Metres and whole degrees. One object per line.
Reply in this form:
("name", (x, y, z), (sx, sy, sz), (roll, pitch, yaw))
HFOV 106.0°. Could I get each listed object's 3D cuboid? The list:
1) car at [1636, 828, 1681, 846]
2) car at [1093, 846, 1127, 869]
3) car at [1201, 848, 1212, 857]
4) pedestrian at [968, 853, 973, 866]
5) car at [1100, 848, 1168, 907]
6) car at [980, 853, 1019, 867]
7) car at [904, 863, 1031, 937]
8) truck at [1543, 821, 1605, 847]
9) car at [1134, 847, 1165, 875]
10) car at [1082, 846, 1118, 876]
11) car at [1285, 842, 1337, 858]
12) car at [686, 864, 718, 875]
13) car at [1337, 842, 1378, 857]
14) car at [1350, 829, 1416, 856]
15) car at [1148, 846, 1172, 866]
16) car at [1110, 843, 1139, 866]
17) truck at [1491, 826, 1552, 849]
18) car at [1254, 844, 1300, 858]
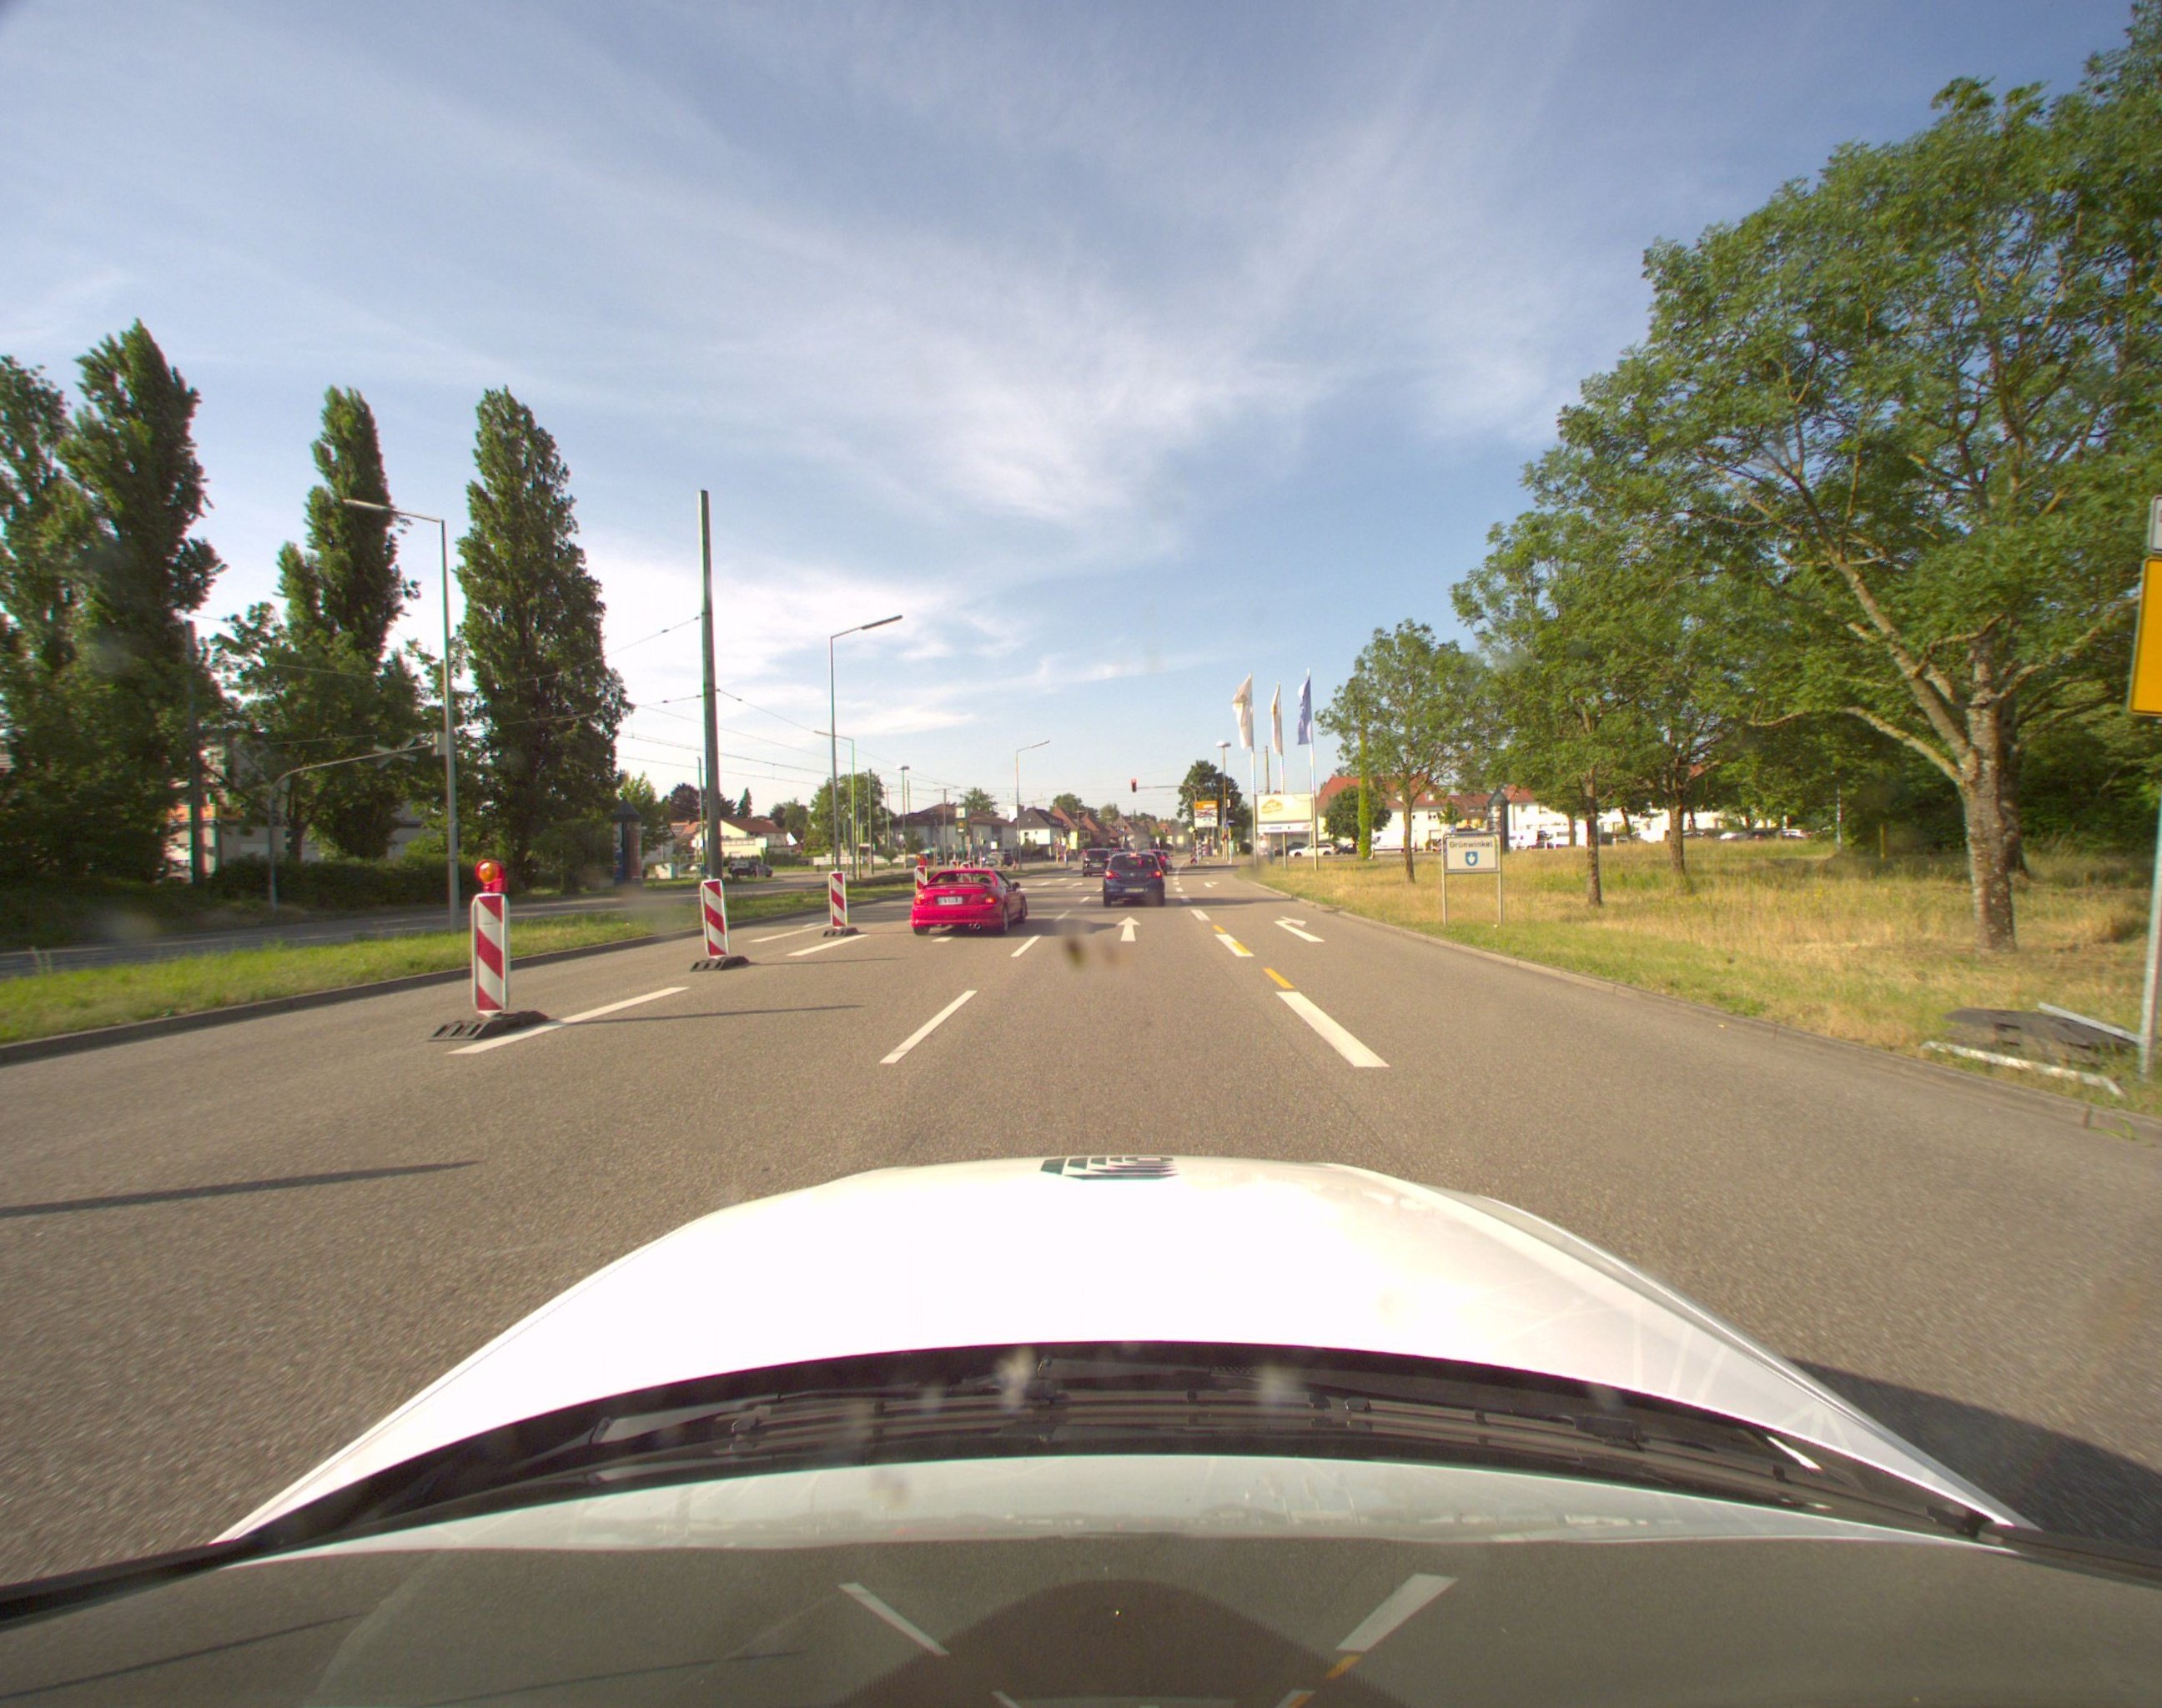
("car", (68.204, -1.983, 96.168), (1.905, 1.920, 3.865), (-2, 0, -37))
("car", (2.045, 0.231, 56.031), (1.689, 1.508, 4.566), (-1, 0, 10))
("car", (20.760, -0.241, 134.921), (1.664, 1.398, 4.010), (0, 0, 9))
("pedestrian", (-14.570, 0.720, 107.071), (0.509, 1.599, 0.540), (-2, 0, 4))
("car", (1.485, 0.609, 23.600), (1.735, 1.505, 4.225), (-2, 0, 2))
("car", (-9.255, 0.664, 92.134), (3.948, 1.486, 2.013), (-2, 0, 35))
("car", (-2.117, 0.830, 16.232), (1.723, 1.206, 3.851), (0, 0, 4))
("truck", (58.624, -2.314, 96.968), (1.905, 2.854, 6.010), (-2, 0, -37))
("car", (4.120, 0.382, 48.870), (1.697, 1.551, 3.985), (-2, 0, 6))
("car", (1.157, 0.360, 48.378), (1.754, 1.670, 4.091), (-1, 0, 6))
("car", (24.172, -0.433, 85.608), (5.064, 1.563, 1.845), (-2, 0, 9))
("car", (-55.435, 2.246, 119.094), (1.979, 1.684, 4.237), (0, -1, 15))
("car", (29.931, -0.516, 88.266), (3.963, 1.453, 1.720), (-2, 0, 9))
("car", (31.350, -1.136, 84.684), (6.171, 2.583, 2.005), (-2, 0, 9))
("car", (6.074, 0.146, 62.201), (1.647, 1.443, 4.022), (-2, 0, 7))
("car", (3.383, 0.028, 63.104), (1.497, 1.651, 4.759), (-2, 0, 11))
("truck", (52.533, -1.920, 97.304), (2.282, 2.524, 6.303), (-2, 1, -26))
("car", (21.535, -0.360, 89.718), (4.795, 1.411, 1.720), (-2, 0, 9))
